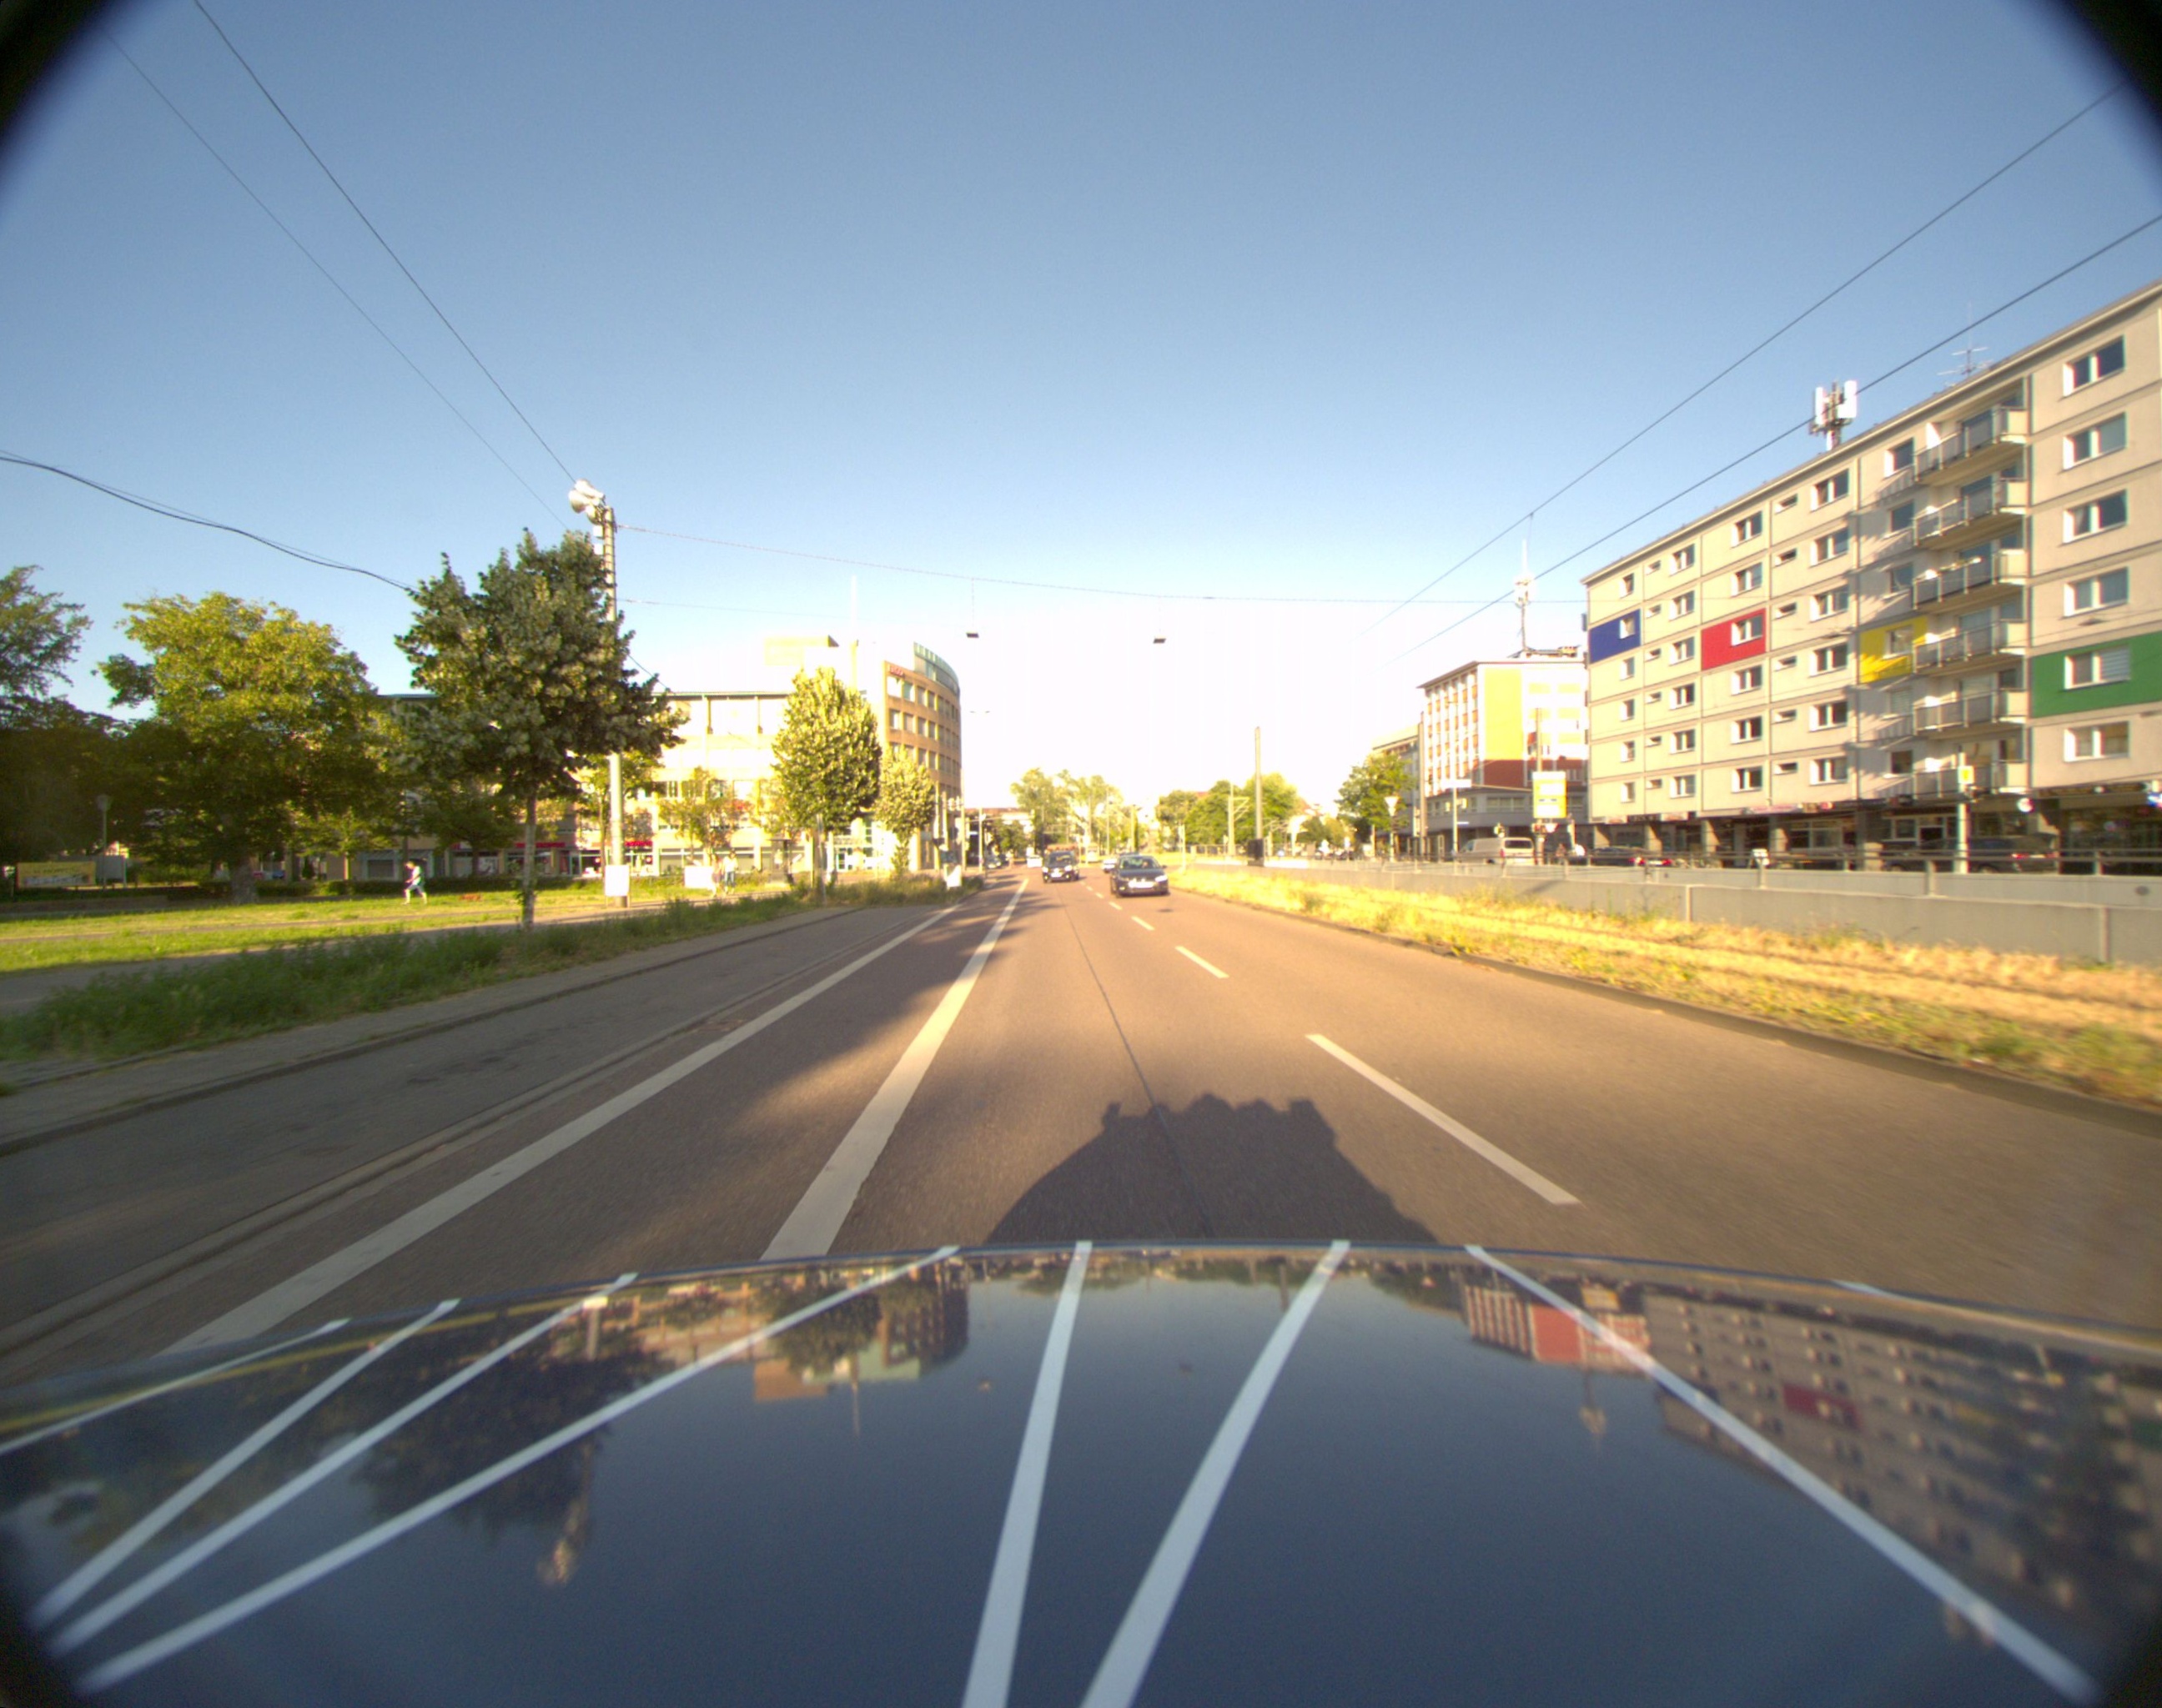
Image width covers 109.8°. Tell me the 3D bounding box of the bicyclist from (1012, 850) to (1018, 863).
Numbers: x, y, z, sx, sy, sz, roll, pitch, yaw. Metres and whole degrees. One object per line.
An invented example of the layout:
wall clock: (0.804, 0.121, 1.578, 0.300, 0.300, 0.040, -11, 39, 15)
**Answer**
bicyclist: (-8.072, 0.319, 92.819, 0.552, 1.600, 0.832, -1, 1, 0)

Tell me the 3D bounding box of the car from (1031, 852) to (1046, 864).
car: (-5.320, 0.480, 95.518, 1.770, 1.464, 4.012, -3, 1, -3)

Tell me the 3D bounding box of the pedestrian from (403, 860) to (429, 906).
pedestrian: (-25.757, 1.104, 29.445, 0.644, 1.729, 0.595, -2, 1, -35)

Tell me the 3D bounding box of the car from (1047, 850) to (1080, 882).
car: (-1.031, 0.634, 43.438, 1.770, 1.722, 4.146, -1, 0, -2)

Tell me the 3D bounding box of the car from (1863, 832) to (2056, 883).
car: (33.792, 0.112, 29.485, 1.999, 1.787, 4.741, -1, 0, -1)

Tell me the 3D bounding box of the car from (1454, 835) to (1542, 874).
car: (22.562, 0.000, 41.373, 1.999, 2.002, 4.773, -1, 1, -3)

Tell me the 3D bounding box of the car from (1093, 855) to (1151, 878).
car: (3.088, 0.916, 56.661, 4.287, 1.528, 1.830, -2, 1, -43)

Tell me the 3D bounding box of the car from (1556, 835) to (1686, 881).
car: (22.831, 0.156, 32.416, 1.999, 1.787, 4.894, -1, 0, -1)

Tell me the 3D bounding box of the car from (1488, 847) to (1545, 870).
car: (25.741, 0.255, 45.028, 1.229, 1.280, 3.188, -1, 0, -8)

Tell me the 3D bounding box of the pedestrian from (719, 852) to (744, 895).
pedestrian: (-13.817, 0.767, 30.032, 0.599, 1.679, 0.782, 1, 0, 2)

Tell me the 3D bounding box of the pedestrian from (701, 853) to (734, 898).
pedestrian: (-13.685, 0.792, 28.625, 0.740, 1.640, 0.916, 2, 0, 2)

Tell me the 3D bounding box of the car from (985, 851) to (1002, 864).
car: (-10.842, 0.444, 94.276, 1.770, 1.464, 4.012, -3, 1, -3)

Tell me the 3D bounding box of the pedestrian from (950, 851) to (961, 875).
pedestrian: (-9.200, 0.666, 55.877, 0.651, 1.714, 0.715, -1, 1, 0)

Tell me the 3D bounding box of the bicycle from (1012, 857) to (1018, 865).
bicycle: (-8.064, 0.801, 92.770, 0.608, 0.923, 1.776, -1, 0, 0)

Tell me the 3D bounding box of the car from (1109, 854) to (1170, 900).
car: (2.012, 0.759, 27.060, 1.770, 1.418, 4.244, -3, 0, 0)

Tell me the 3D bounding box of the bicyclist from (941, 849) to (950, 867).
bicyclist: (-14.130, 0.418, 79.310, 0.577, 1.927, 0.698, -3, 1, 9)

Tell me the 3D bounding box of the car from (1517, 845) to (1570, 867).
car: (44.163, 0.175, 72.615, 3.998, 1.770, 1.741, -3, 1, -2)
